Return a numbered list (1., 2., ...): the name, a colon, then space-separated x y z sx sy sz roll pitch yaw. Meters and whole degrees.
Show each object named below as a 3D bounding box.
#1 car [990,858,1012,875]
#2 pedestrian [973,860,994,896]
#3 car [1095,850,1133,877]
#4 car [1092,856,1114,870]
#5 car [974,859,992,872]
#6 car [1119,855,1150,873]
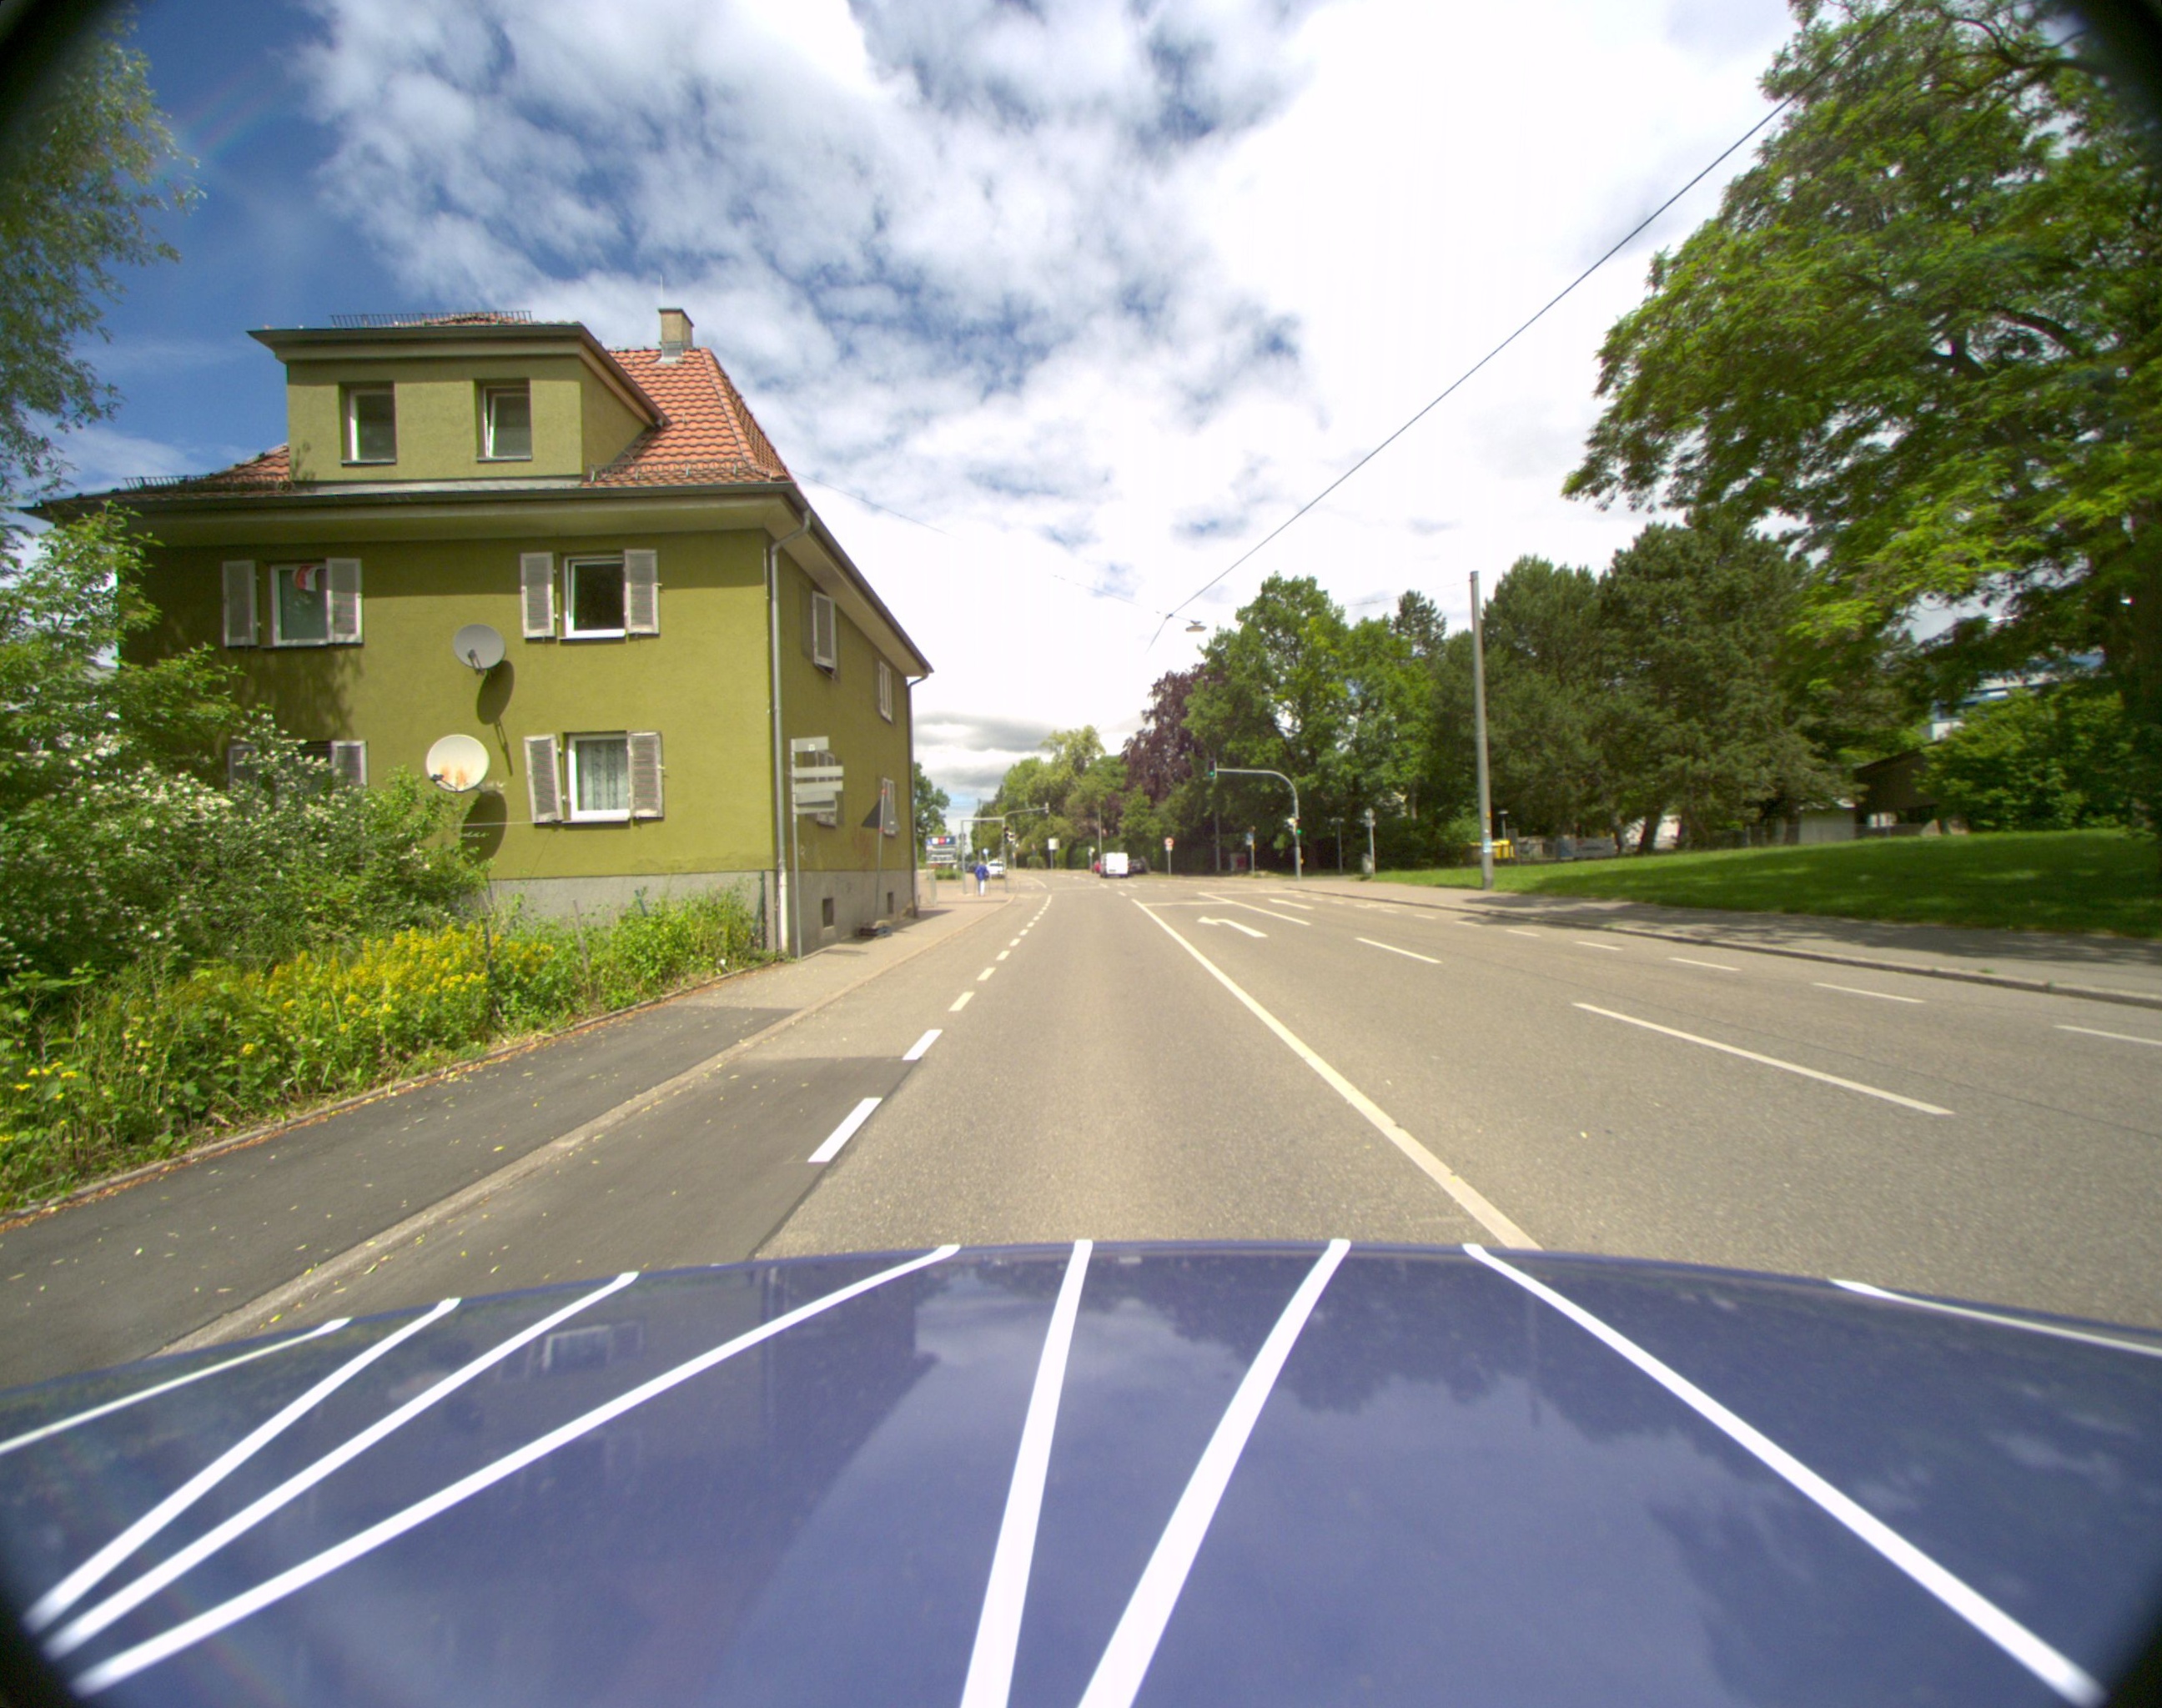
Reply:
1. car: -7.284 1.105 68.574 1.796 1.522 3.918 0 0 -9
2. pedestrian: -4.374 1.076 34.176 0.826 1.563 0.987 -1 1 -4
3. car: 2.594 0.715 60.459 2.000 2.011 5.347 -1 0 -9
4. car: 2.383 0.986 81.692 1.531 1.358 3.371 -3 1 -12
5. car: -12.516 1.422 96.729 1.707 1.522 3.995 -3 0 -15
6. car: 4.692 0.827 67.398 1.688 1.407 4.398 -3 1 -9
